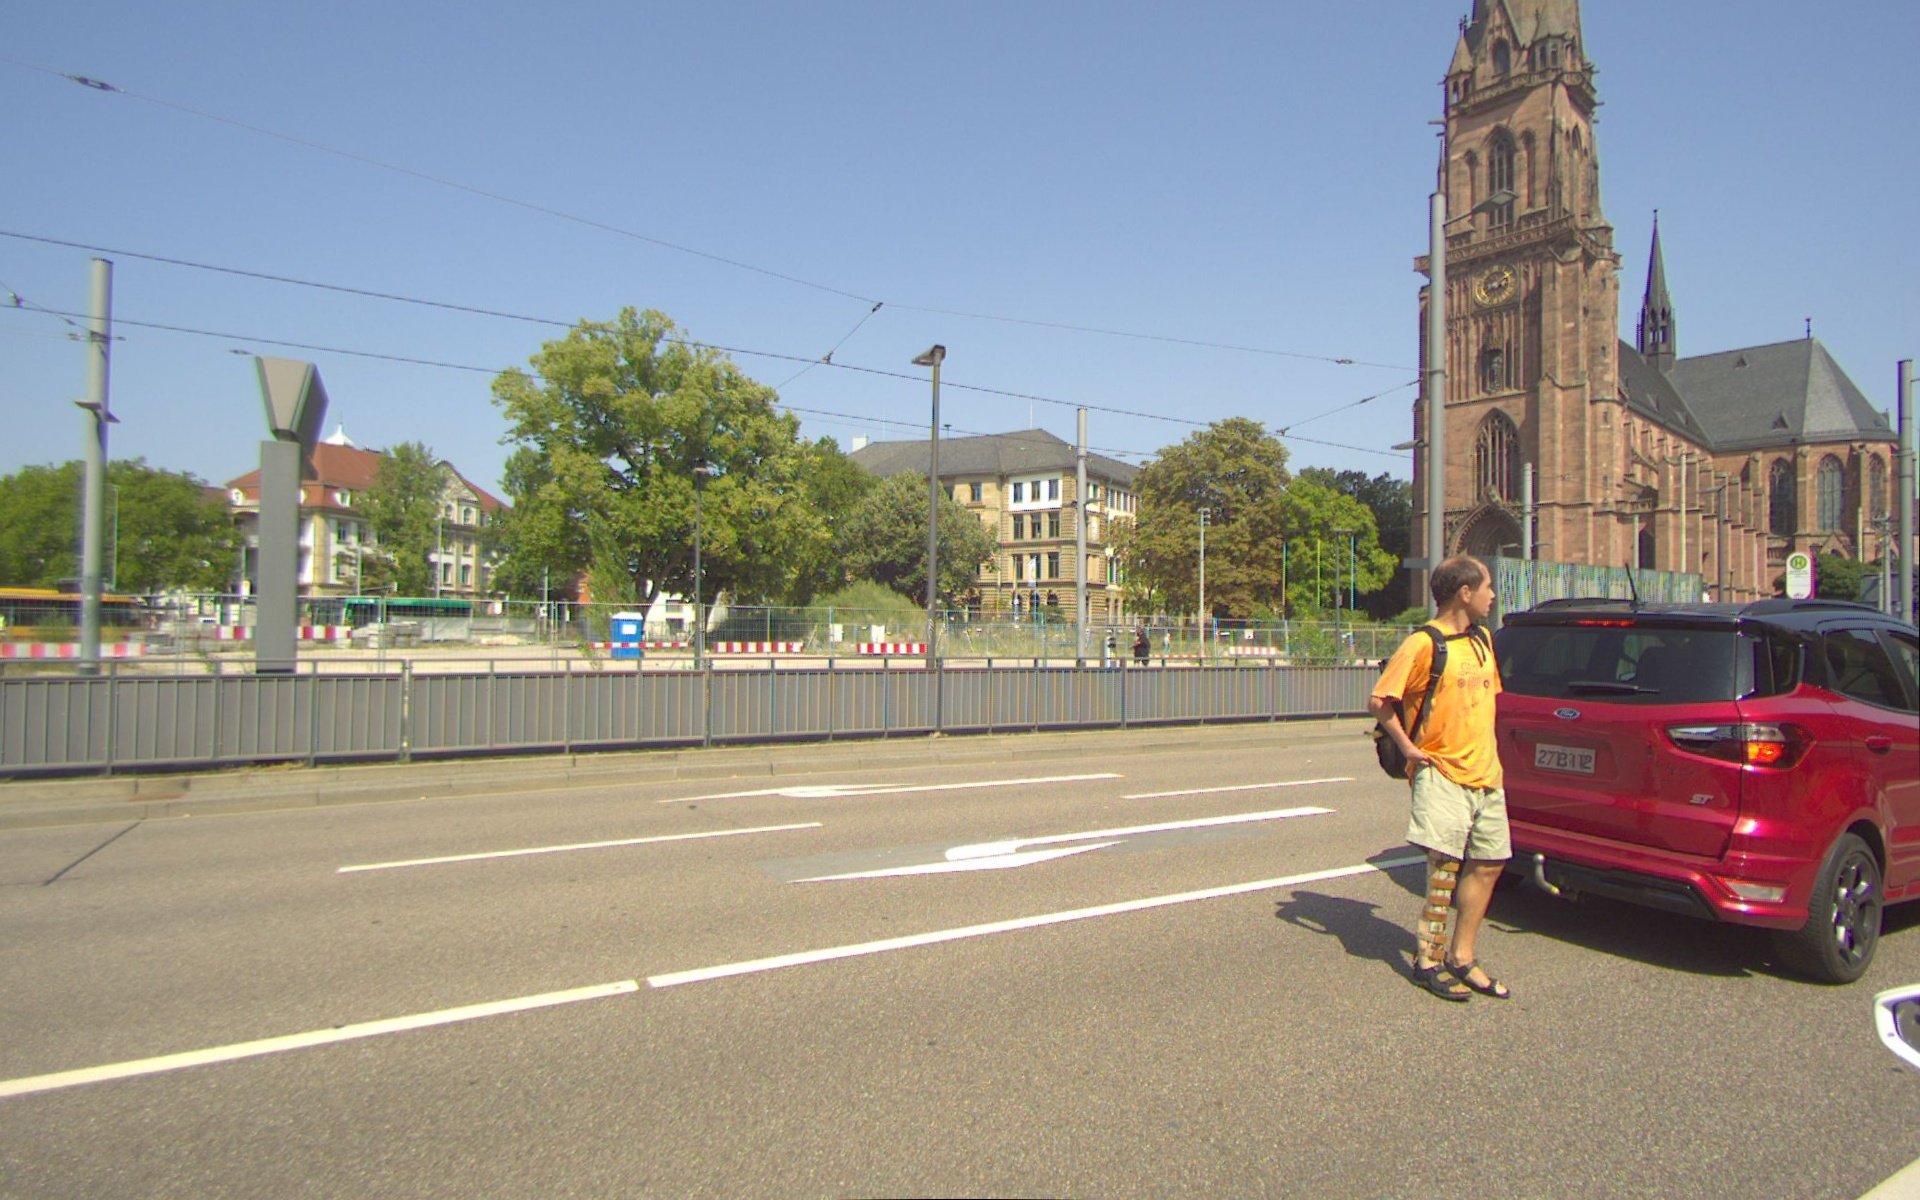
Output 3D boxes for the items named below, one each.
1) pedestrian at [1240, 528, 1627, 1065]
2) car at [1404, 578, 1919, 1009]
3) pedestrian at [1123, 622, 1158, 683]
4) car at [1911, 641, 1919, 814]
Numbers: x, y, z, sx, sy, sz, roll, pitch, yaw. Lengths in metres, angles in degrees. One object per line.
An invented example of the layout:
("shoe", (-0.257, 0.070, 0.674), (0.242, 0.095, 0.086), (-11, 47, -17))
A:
("pedestrian", (1.918, 0.649, 4.057), (1.219, 1.764, 0.964), (1, -1, 36))
("car", (4.428, 0.793, 5.502), (3.920, 1.642, 1.623), (2, -1, -29))
("pedestrian", (5.509, 1.596, 30.608), (0.752, 1.811, 0.740), (1, -2, -29))
("car", (10.002, 1.116, 8.643), (3.757, 1.432, 1.680), (2, -1, -31))
